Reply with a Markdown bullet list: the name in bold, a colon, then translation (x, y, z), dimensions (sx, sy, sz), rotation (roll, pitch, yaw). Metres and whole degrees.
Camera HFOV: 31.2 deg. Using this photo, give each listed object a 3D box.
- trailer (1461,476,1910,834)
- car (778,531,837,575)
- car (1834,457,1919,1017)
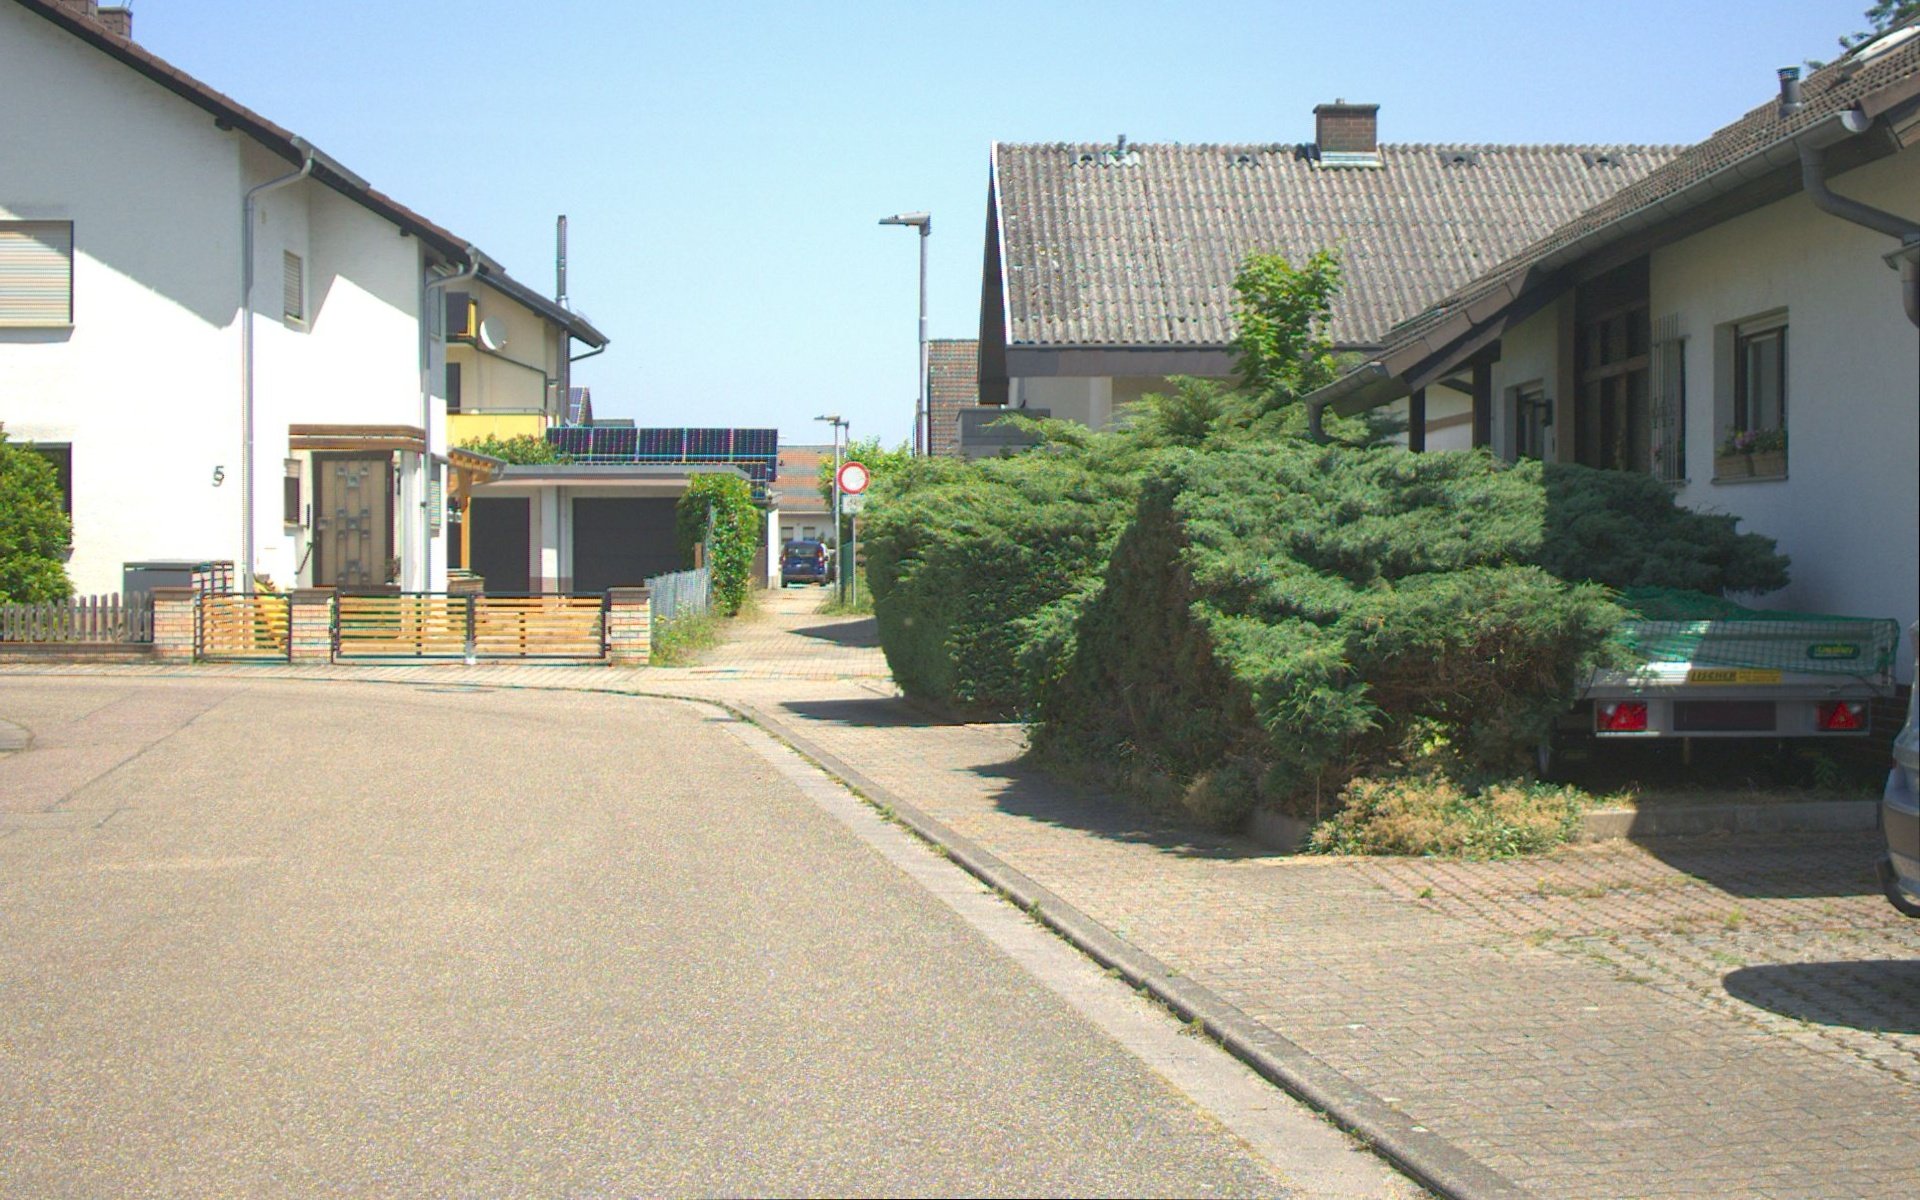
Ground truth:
- **trailer**: translation (3.702, 0.217, 18.046), dimensions (1.587, 1.666, 3.297), rotation (-2, 2, -1)
- **car**: translation (-6.028, -1.872, 135.988), dimensions (2.193, 1.695, 3.807), rotation (0, 1, -1)
- **car**: translation (5.207, 0.357, 10.486), dimensions (4.627, 1.696, 1.709), rotation (-1, 1, 2)
